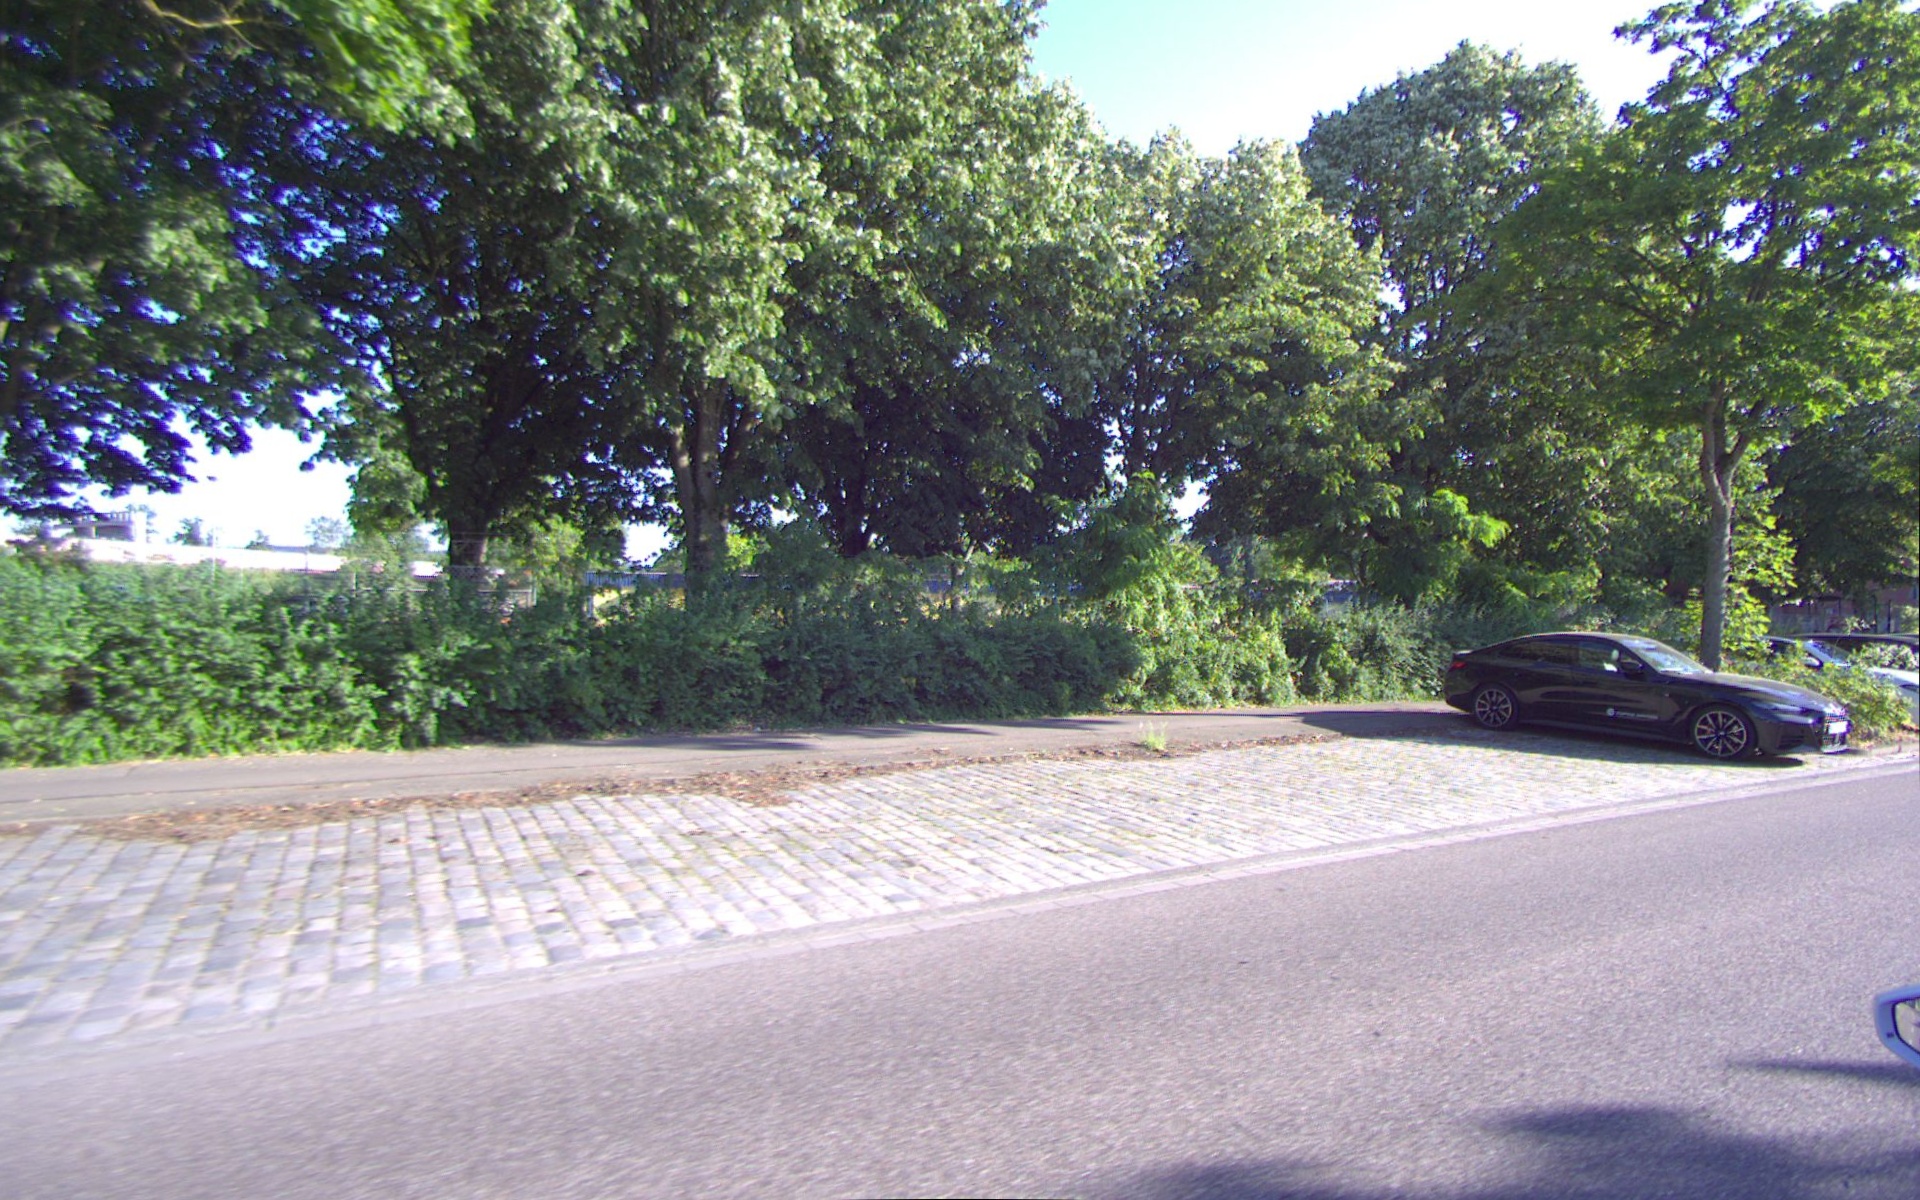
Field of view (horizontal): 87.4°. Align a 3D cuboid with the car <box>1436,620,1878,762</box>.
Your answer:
[{"bbox_3d":[9.266,1.083,13.816,1.895,1.441,4.624,1,1,-31],"label":"car"}]

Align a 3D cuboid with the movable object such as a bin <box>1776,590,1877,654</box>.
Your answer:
[{"bbox_3d":[38.251,0.973,44.492,2.124,2.700,4.800,0,-1,25],"label":"movable object such as a bin"}]

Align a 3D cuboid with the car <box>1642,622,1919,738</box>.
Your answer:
[{"bbox_3d":[14.194,1.237,16.723,1.975,1.551,4.268,1,1,-28],"label":"car"}]

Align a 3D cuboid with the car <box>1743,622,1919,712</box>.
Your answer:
[{"bbox_3d":[18.280,1.292,19.227,1.978,1.551,4.822,1,1,-32],"label":"car"}]

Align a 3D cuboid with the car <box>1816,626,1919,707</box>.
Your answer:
[{"bbox_3d":[20.454,1.401,20.238,1.976,1.551,4.459,1,1,-29],"label":"car"}]
